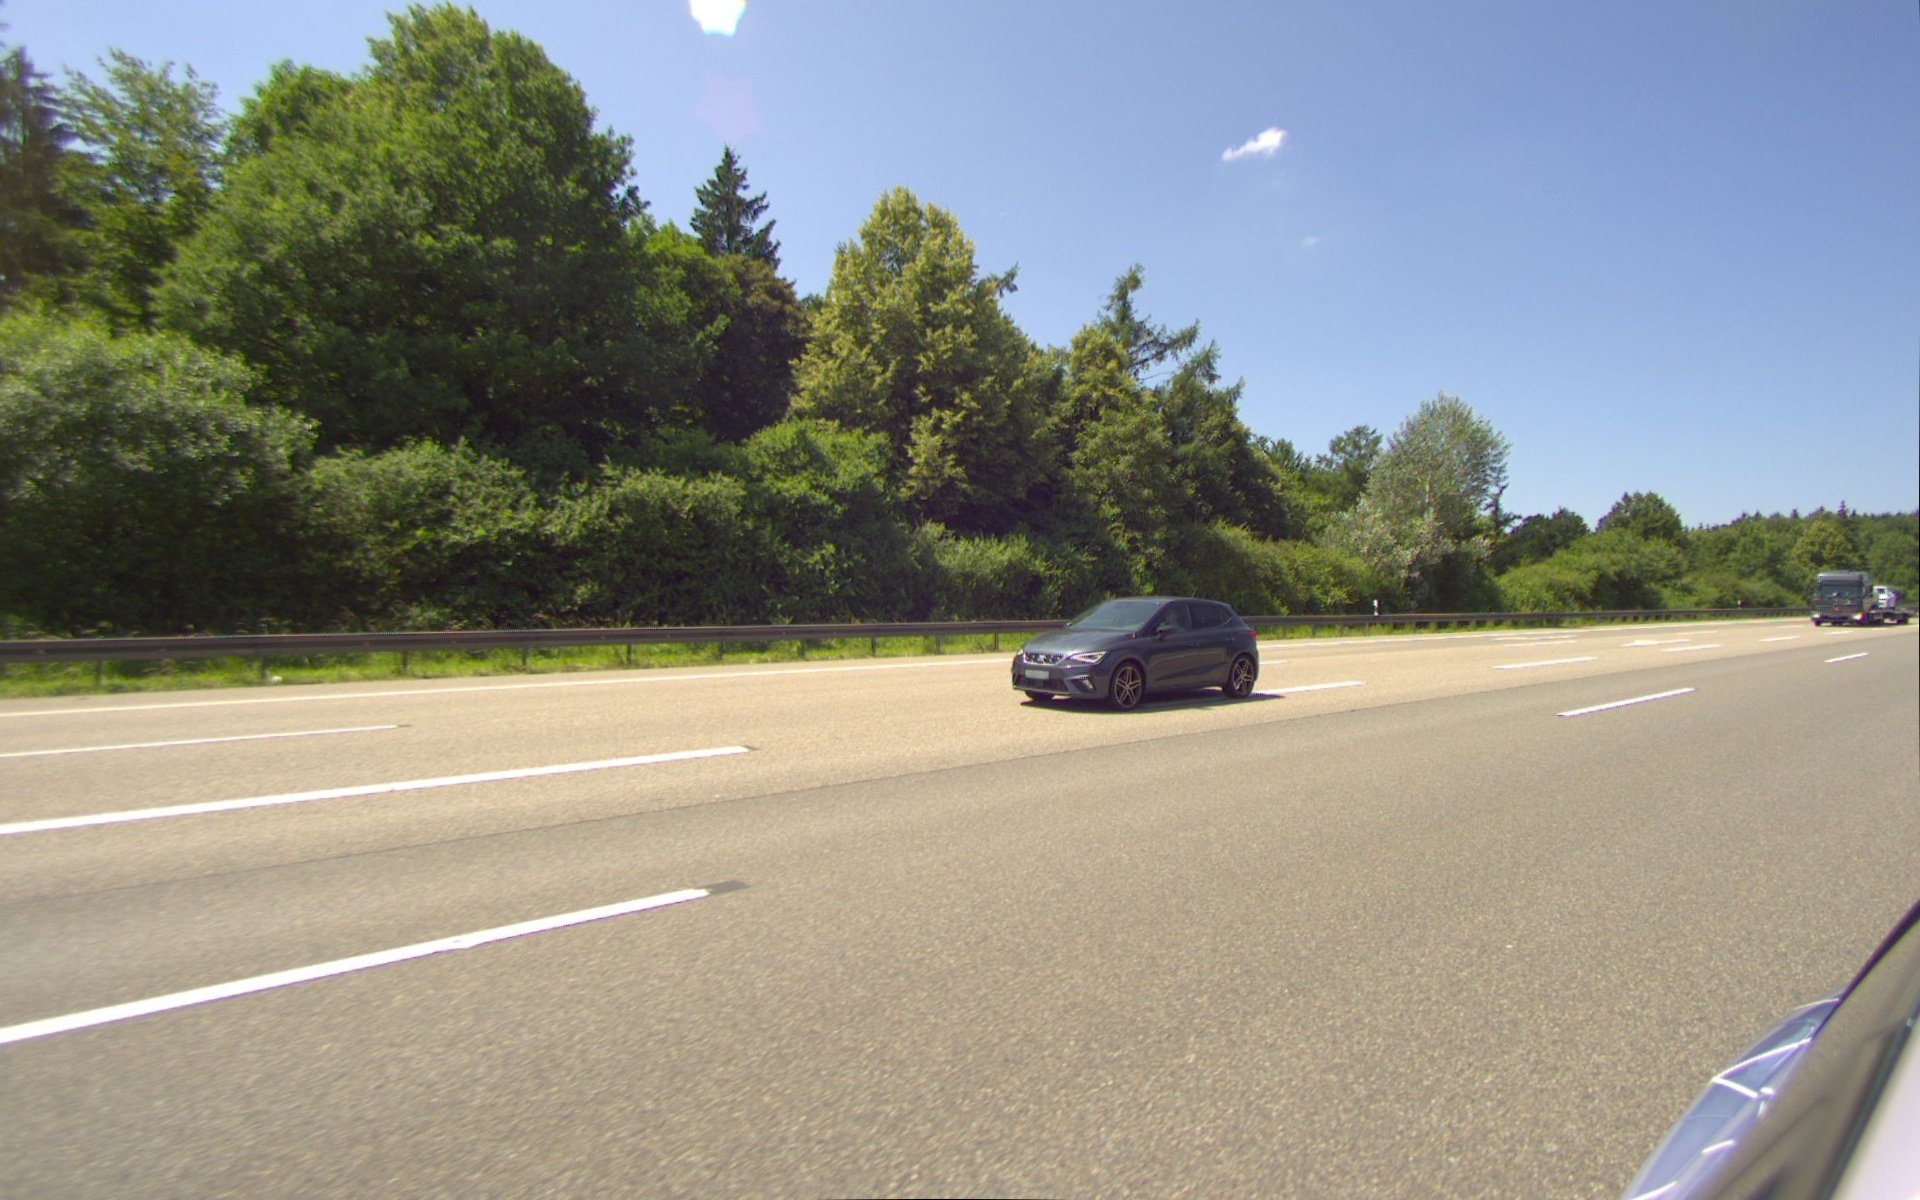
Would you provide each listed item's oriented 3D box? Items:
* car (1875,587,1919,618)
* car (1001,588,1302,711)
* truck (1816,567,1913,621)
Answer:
[{"bbox_3d":[59.914,0.120,64.221,4.782,1.920,1.998,0,0,-39],"label":"car"},{"bbox_3d":[2.826,0.577,14.309,4.552,1.457,1.646,-1,0,-39],"label":"car"},{"bbox_3d":[52.139,-0.343,58.217,10.692,2.892,2.659,0,0,-40],"label":"truck"}]
